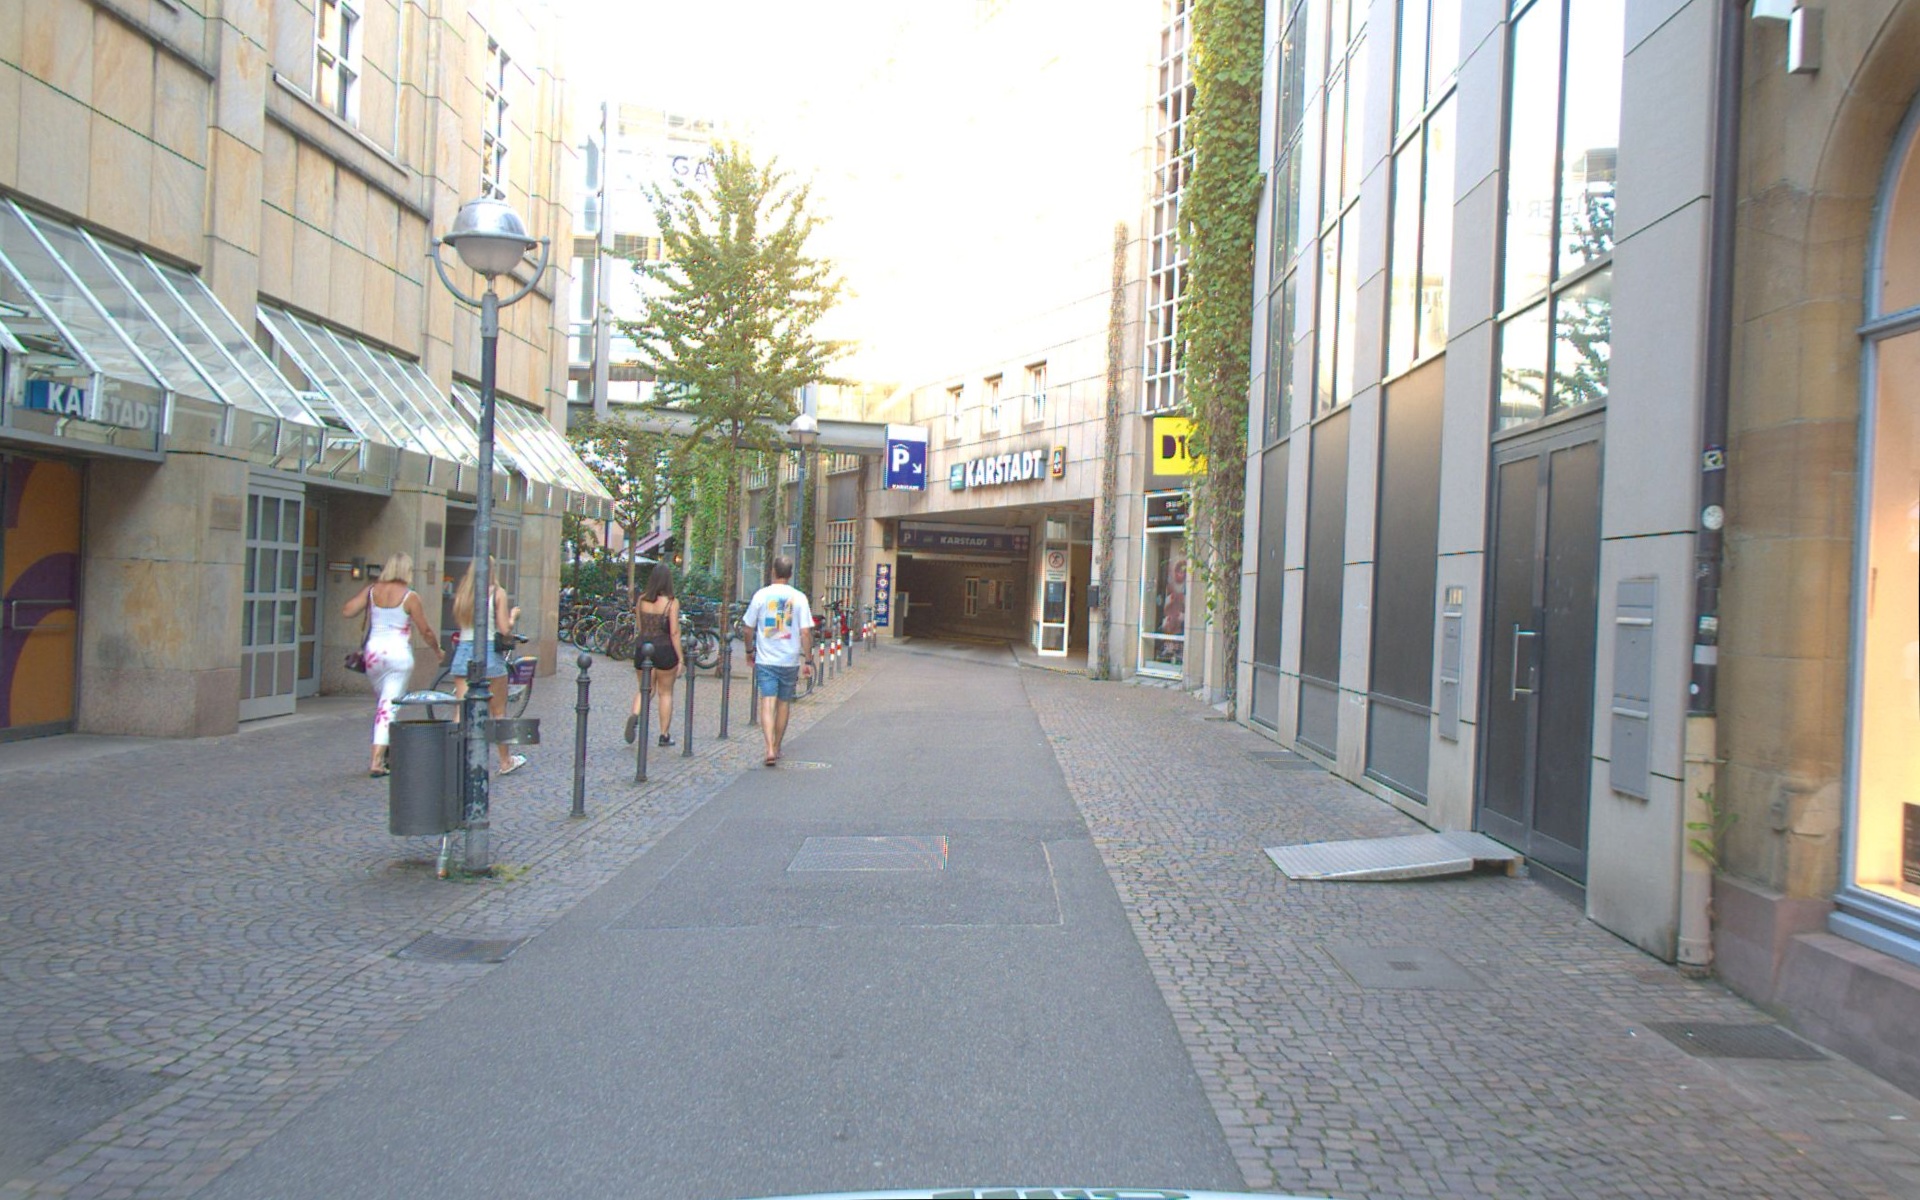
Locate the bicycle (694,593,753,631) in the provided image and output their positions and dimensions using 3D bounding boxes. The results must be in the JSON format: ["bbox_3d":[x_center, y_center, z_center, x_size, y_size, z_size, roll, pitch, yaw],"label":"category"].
[{"bbox_3d":[-7.434,0.380,52.100,1.747,1.134,0.539,1,0,-21],"label":"bicycle"}]

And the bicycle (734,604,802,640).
[{"bbox_3d":[-5.140,0.594,44.301,1.747,0.920,0.461,1,0,-21],"label":"bicycle"}]

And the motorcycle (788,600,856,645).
[{"bbox_3d":[-3.488,0.570,41.780,1.638,1.069,0.461,1,0,-21],"label":"motorcycle"}]

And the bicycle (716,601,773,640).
[{"bbox_3d":[-6.199,0.583,47.622,1.517,1.067,0.572,1,0,-21],"label":"bicycle"}]

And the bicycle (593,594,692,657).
[{"bbox_3d":[-6.296,0.508,32.786,1.846,1.198,0.530,1,0,-23],"label":"bicycle"}]

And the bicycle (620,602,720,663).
[{"bbox_3d":[-5.585,0.628,31.834,1.811,1.142,0.530,1,0,-23],"label":"bicycle"}]

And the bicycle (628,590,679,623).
[{"bbox_3d":[-11.143,0.243,60.064,1.745,1.134,0.540,1,0,-18],"label":"bicycle"}]

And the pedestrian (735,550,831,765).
[{"bbox_3d":[-1.577,0.496,14.853,0.727,1.854,0.878,2,0,0],"label":"pedestrian"}]

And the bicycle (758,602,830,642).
[{"bbox_3d":[-4.358,0.585,43.452,1.821,0.999,0.461,1,0,-21],"label":"bicycle"}]

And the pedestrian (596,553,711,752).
[{"bbox_3d":[-2.924,0.482,15.859,0.768,1.826,0.973,2,0,8],"label":"pedestrian"}]

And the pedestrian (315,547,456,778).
[{"bbox_3d":[-4.403,0.462,12.733,0.660,1.693,0.861,2,0,6],"label":"pedestrian"}]

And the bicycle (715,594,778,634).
[{"bbox_3d":[-6.292,0.424,48.796,1.747,1.134,0.539,1,0,-21],"label":"bicycle"}]

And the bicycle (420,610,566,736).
[{"bbox_3d":[-4.599,0.690,16.407,0.510,1.157,1.765,2,0,16],"label":"bicycle"}]

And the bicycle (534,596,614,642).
[{"bbox_3d":[-9.227,0.461,39.525,1.799,1.061,0.530,1,0,-23],"label":"bicycle"}]

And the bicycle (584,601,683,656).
[{"bbox_3d":[-6.571,0.580,33.315,1.868,1.070,0.530,1,0,-23],"label":"bicycle"}]

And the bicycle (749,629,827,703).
[{"bbox_3d":[-2.397,0.907,23.240,0.482,0.955,1.660,3,0,15],"label":"bicycle"}]

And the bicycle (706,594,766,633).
[{"bbox_3d":[-6.902,0.415,51.070,1.747,1.134,0.539,1,0,-21],"label":"bicycle"}]

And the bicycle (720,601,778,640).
[{"bbox_3d":[-5.900,0.574,46.226,1.517,1.067,0.572,1,0,-21],"label":"bicycle"}]

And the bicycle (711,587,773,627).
[{"bbox_3d":[-6.566,0.226,49.921,1.747,1.134,0.539,2,0,-21],"label":"bicycle"}]

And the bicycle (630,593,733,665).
[{"bbox_3d":[-4.997,0.522,29.665,1.742,1.252,0.530,1,0,-23],"label":"bicycle"}]

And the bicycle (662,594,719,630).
[{"bbox_3d":[-8.850,0.403,54.352,1.747,1.134,0.539,1,0,-21],"label":"bicycle"}]

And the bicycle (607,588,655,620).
[{"bbox_3d":[-12.999,0.148,65.309,1.747,1.211,0.583,1,0,-21],"label":"bicycle"}]

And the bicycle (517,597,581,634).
[{"bbox_3d":[-11.946,0.440,48.070,1.755,1.037,0.478,1,0,-23],"label":"bicycle"}]

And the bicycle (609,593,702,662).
[{"bbox_3d":[-5.697,0.516,30.942,1.631,1.252,0.530,1,0,-23],"label":"bicycle"}]

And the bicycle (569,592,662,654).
[{"bbox_3d":[-7.077,0.477,33.988,1.808,1.246,0.530,1,0,-23],"label":"bicycle"}]

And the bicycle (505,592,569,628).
[{"bbox_3d":[-12.507,0.303,48.906,1.755,1.037,0.478,1,0,-23],"label":"bicycle"}]

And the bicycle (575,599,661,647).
[{"bbox_3d":[-7.814,0.519,37.770,1.851,1.061,0.530,1,0,-23],"label":"bicycle"}]

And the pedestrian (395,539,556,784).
[{"bbox_3d":[-3.670,0.449,12.592,0.789,1.759,0.949,2,0,9],"label":"pedestrian"}]

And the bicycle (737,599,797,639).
[{"bbox_3d":[-5.280,0.519,45.251,1.517,1.067,0.572,1,0,-21],"label":"bicycle"}]
